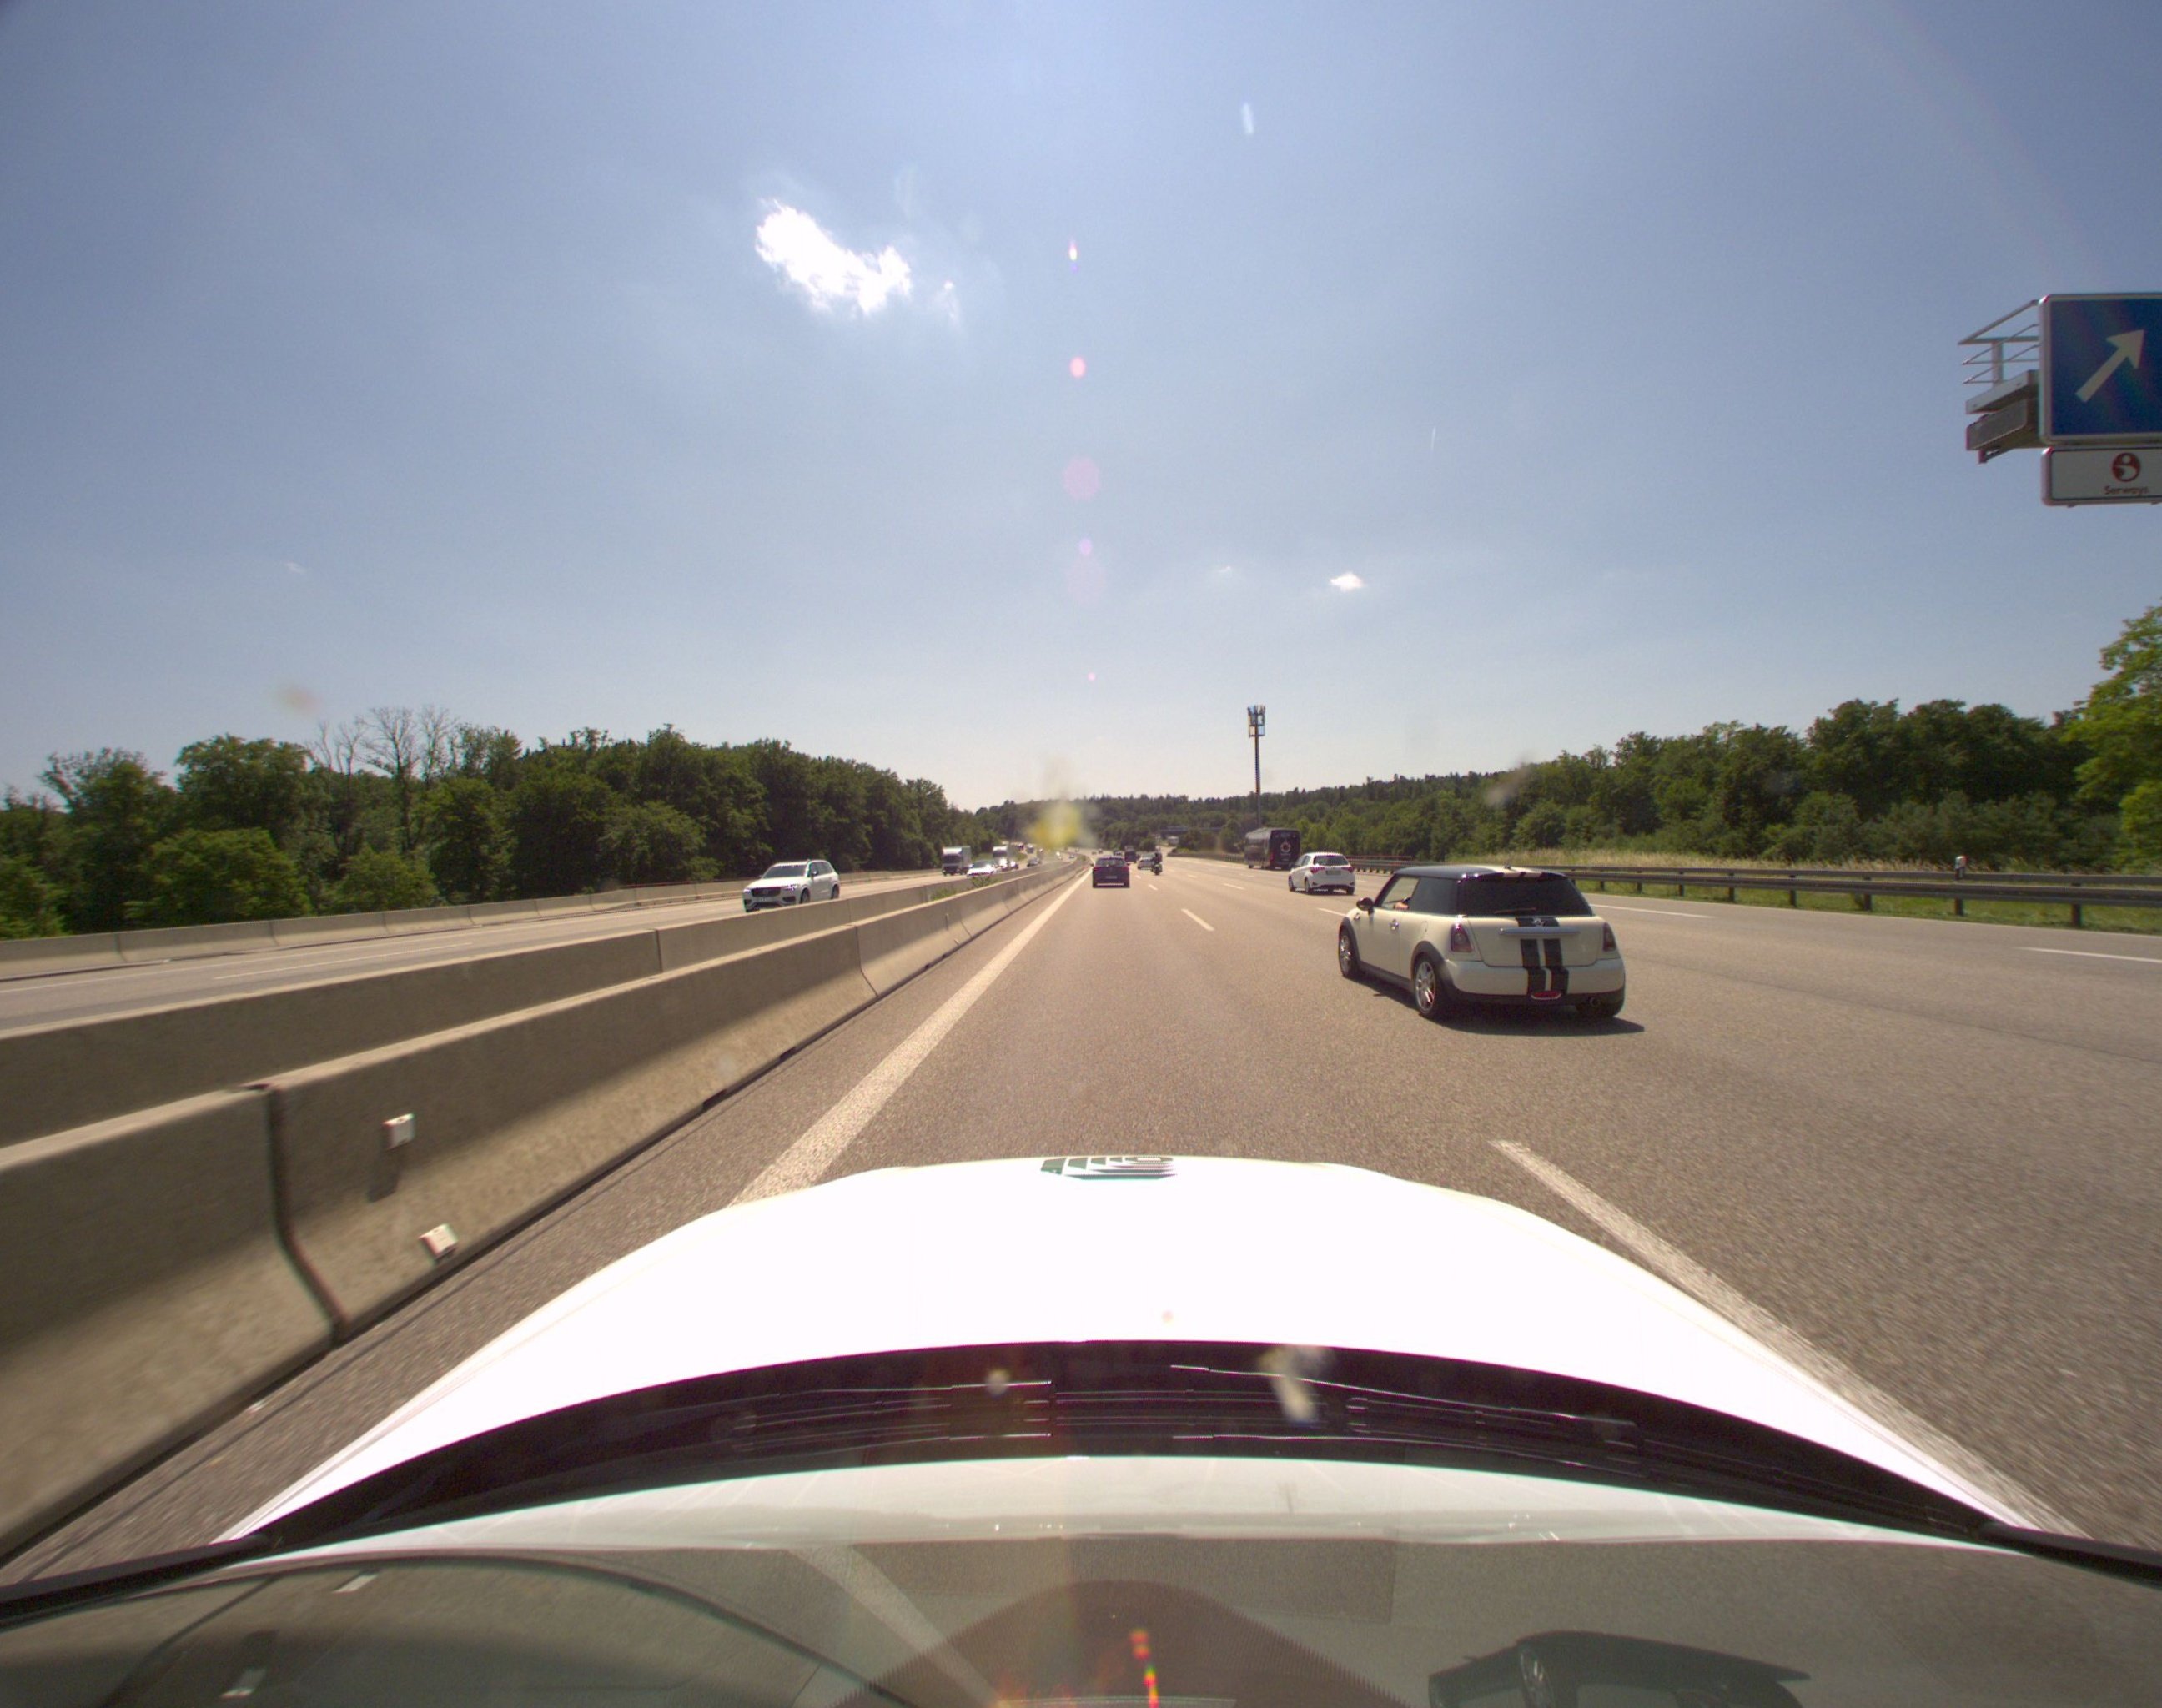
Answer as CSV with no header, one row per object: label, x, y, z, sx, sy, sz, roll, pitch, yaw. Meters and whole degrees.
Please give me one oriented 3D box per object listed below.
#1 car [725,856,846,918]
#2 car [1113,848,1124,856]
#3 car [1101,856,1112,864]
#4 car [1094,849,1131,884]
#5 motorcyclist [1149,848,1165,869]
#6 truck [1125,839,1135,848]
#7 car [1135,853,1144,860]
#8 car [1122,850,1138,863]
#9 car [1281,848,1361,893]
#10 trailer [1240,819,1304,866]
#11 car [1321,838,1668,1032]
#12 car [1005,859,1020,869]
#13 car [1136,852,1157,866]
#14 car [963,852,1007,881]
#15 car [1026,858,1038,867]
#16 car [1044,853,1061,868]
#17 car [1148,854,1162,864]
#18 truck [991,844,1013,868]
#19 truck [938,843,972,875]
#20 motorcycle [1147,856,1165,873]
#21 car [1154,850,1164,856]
car,-9.962,1.028,28.018,1.986,1.787,5.320,-3,0,1
car,8.315,-0.354,179.116,1.989,1.684,4.420,0,1,-3
car,4.354,1.022,140.595,1.532,1.212,3.457,-2,0,-2
car,1.447,0.608,37.908,1.618,1.487,3.686,-1,-2,2
motorcyclist,5.422,0.312,58.244,0.960,1.437,1.234,-3,0,-3
truck,15.575,-3.381,258.602,2.720,2.786,5.678,0,1,-3
car,11.490,0.518,159.778,1.603,1.212,3.459,-2,0,0
car,7.584,0.361,126.173,2.091,1.851,4.078,-2,0,-2
car,8.791,0.575,30.193,1.660,1.433,4.376,-3,0,1
trailer,16.873,-0.894,73.210,2.847,3.688,13.547,-2,0,2
car,4.009,0.635,8.736,1.834,1.552,4.003,-1,1,2
car,-10.383,1.535,123.223,1.791,1.376,4.533,0,0,1
car,6.270,0.502,78.127,1.776,1.265,3.461,-2,0,1
car,-5.747,0.700,49.298,1.842,1.523,5.320,-3,0,1
car,-8.997,1.507,150.688,1.791,1.481,4.399,-4,0,1
car,-3.841,0.886,109.465,1.766,1.879,5.215,0,1,3
car,11.299,0.729,124.532,1.669,1.431,3.685,-2,0,1
truck,-14.080,0.334,145.593,2.705,4.099,7.879,-4,0,1
truck,-15.523,0.616,101.194,2.530,3.571,8.578,-4,0,1
motorcycle,5.360,0.713,58.422,0.974,1.129,2.270,-3,0,0
car,16.175,-0.250,169.153,1.603,1.212,3.459,-2,0,0
